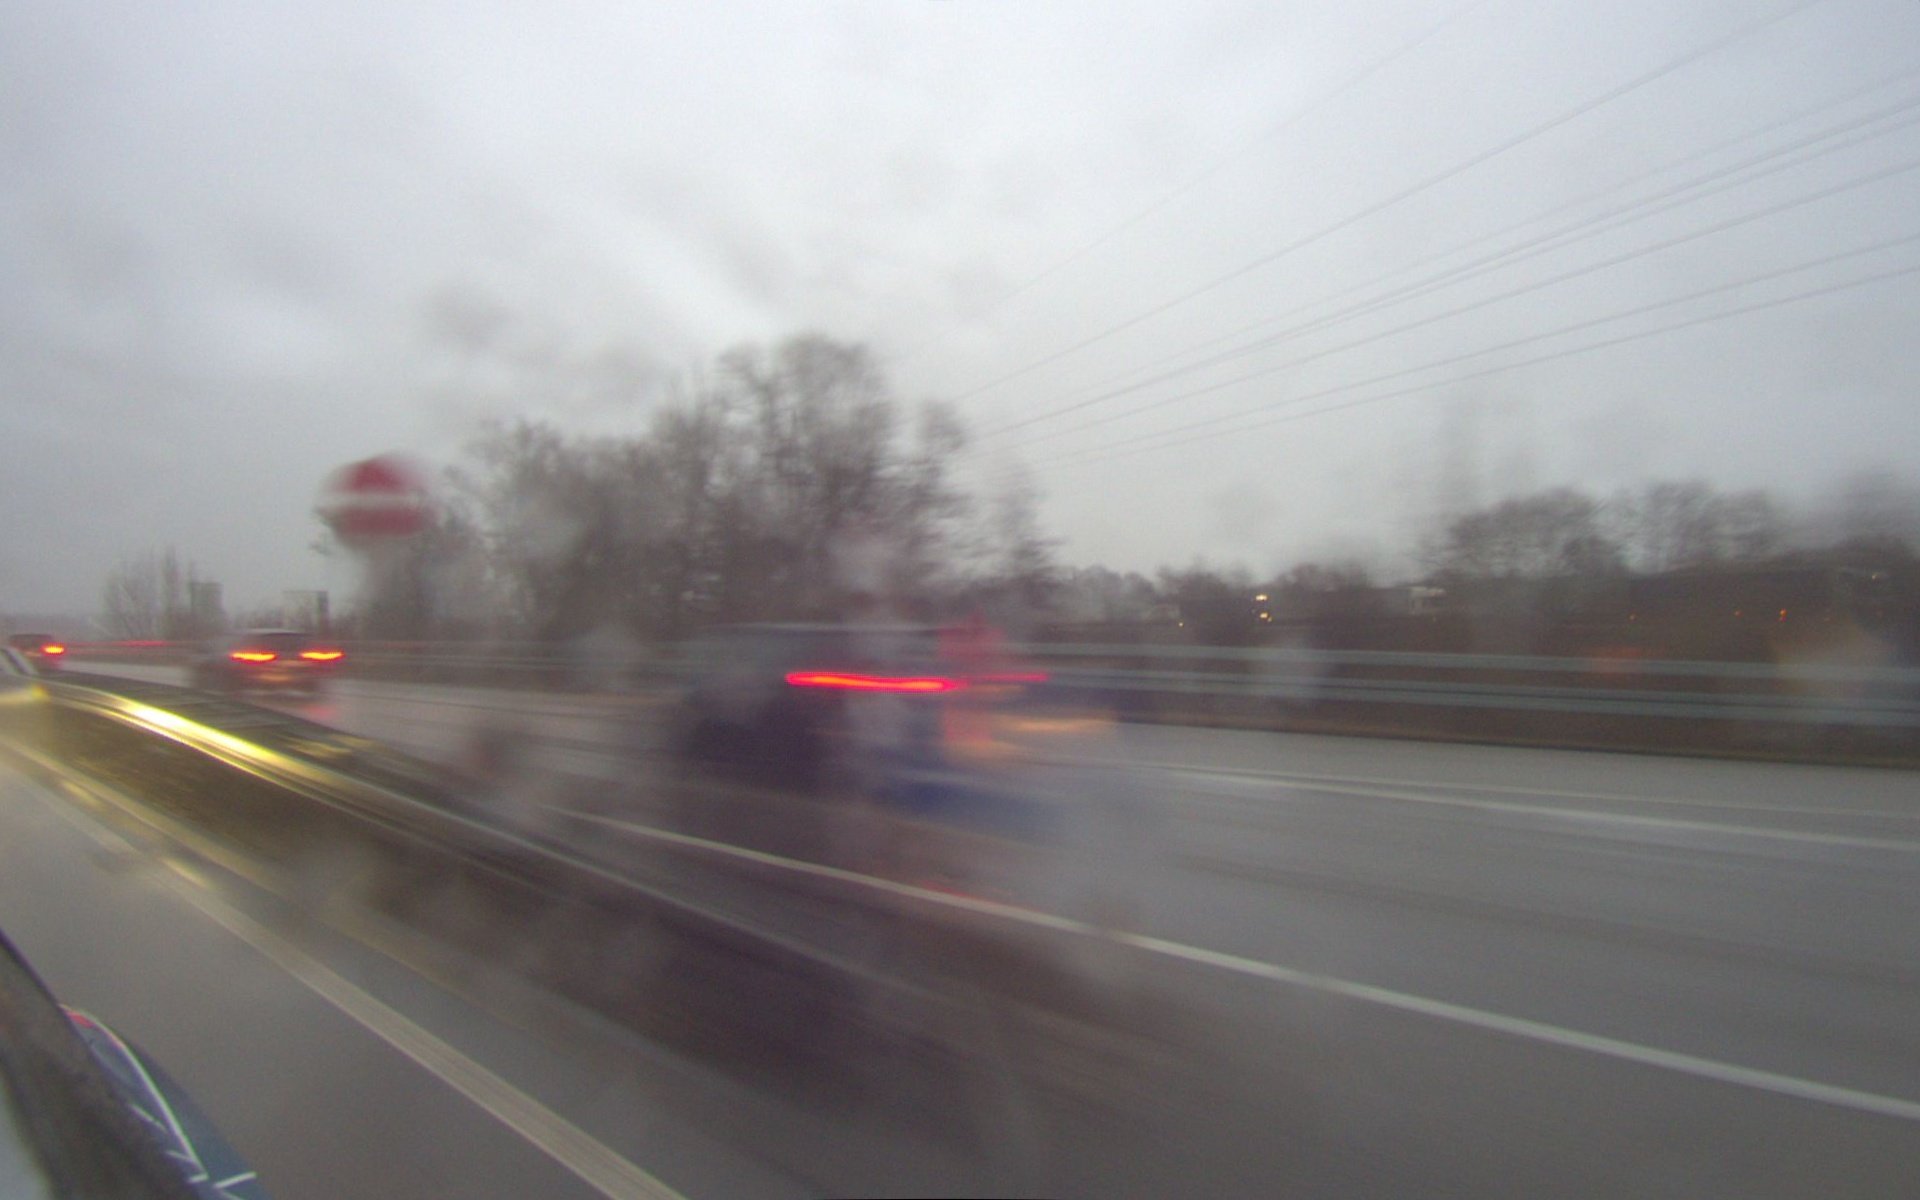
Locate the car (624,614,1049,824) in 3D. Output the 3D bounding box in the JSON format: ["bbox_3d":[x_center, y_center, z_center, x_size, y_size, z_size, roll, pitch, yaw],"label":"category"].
[{"bbox_3d":[-1.278,0.919,9.284,3.999,1.513,1.629,-1,-3,42],"label":"car"}]

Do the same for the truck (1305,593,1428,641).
[{"bbox_3d":[43.065,1.662,108.104,3.229,4.645,13.922,-1,1,-23],"label":"truck"}]

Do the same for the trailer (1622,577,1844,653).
[{"bbox_3d":[56.681,0.904,74.996,3.255,5.141,13.274,-1,1,-22],"label":"trailer"}]

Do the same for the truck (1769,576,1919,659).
[{"bbox_3d":[59.776,1.016,67.538,3.229,5.168,8.548,-1,1,-23],"label":"truck"}]

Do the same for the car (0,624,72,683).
[{"bbox_3d":[-35.951,1.977,38.632,4.988,2.029,1.976,-1,1,36],"label":"car"}]

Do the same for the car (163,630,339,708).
[{"bbox_3d":[-15.310,1.406,21.777,4.468,1.483,1.974,-1,-2,39],"label":"car"}]
